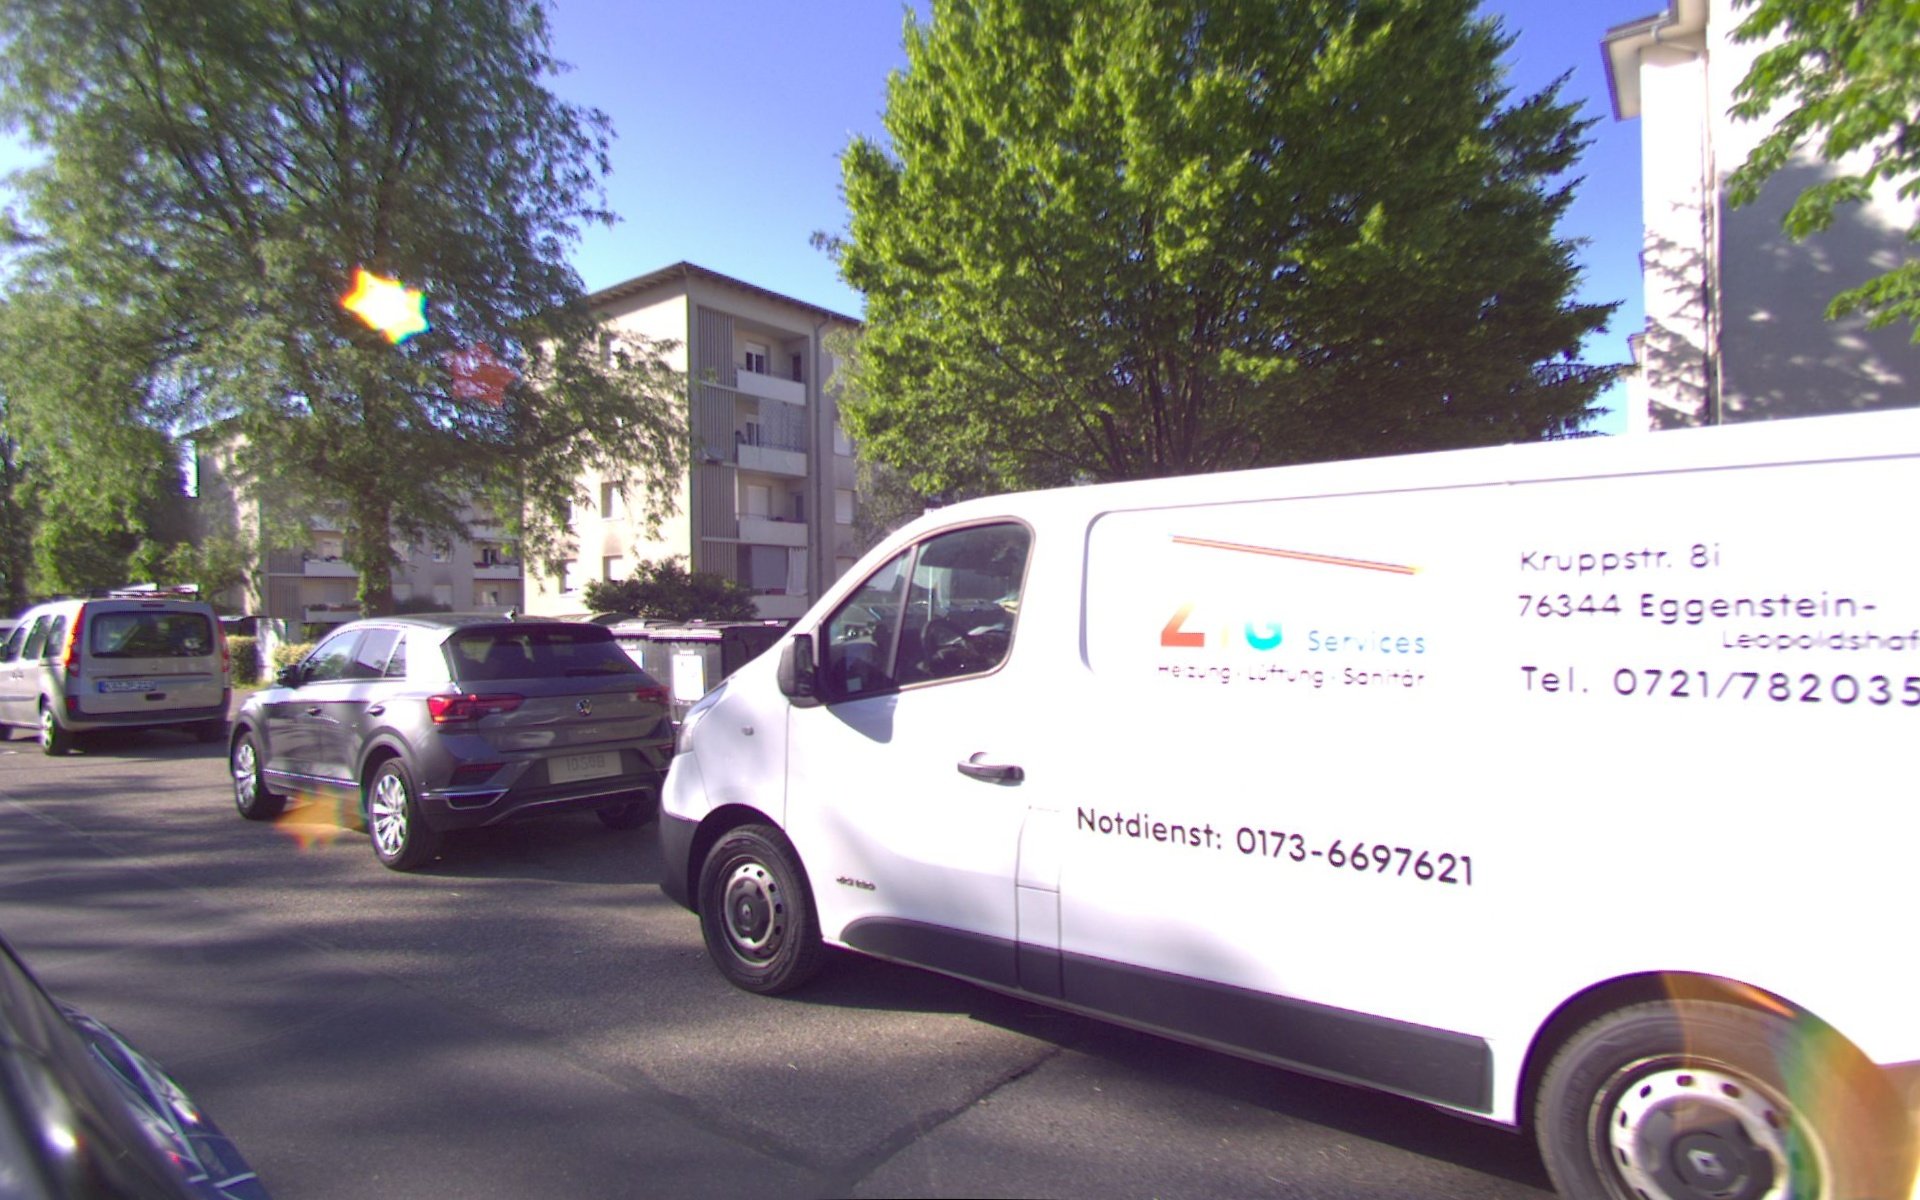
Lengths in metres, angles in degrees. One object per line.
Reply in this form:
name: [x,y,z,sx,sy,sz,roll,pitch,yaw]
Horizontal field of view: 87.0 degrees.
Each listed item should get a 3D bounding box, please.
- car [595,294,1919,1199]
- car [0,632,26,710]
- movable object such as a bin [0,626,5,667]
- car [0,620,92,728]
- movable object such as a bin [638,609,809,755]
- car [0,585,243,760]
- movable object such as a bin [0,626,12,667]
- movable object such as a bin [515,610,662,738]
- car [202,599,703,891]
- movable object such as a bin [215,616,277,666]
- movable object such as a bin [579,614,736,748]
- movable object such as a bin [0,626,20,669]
car: [0.982,0.474,3.660,5.079,1.977,1.897,-2,-2,37]
car: [-20.106,1.364,19.922,4.517,1.476,1.671,-2,-3,36]
movable object such as a bin: [-33.478,1.623,34.454,1.440,1.393,1.125,-2,2,38]
car: [-15.859,1.151,16.455,3.977,1.612,1.694,-2,-3,35]
movable object such as a bin: [-2.509,0.825,10.752,1.358,1.366,1.091,-2,2,37]
car: [-11.222,0.853,13.073,4.408,1.907,1.838,-2,-2,35]
movable object such as a bin: [-32.397,1.575,33.592,1.242,1.368,1.125,-2,2,38]
movable object such as a bin: [-4.618,0.877,12.581,1.358,1.431,1.091,-2,2,37]
car: [-3.847,0.827,7.363,4.134,1.545,1.729,-2,-2,39]
movable object such as a bin: [-22.191,1.273,31.449,1.460,1.431,1.166,-2,2,39]
movable object such as a bin: [-3.503,0.892,11.722,1.358,1.381,1.091,-2,2,37]
movable object such as a bin: [-31.389,1.573,32.765,1.341,1.350,1.166,-2,2,38]
